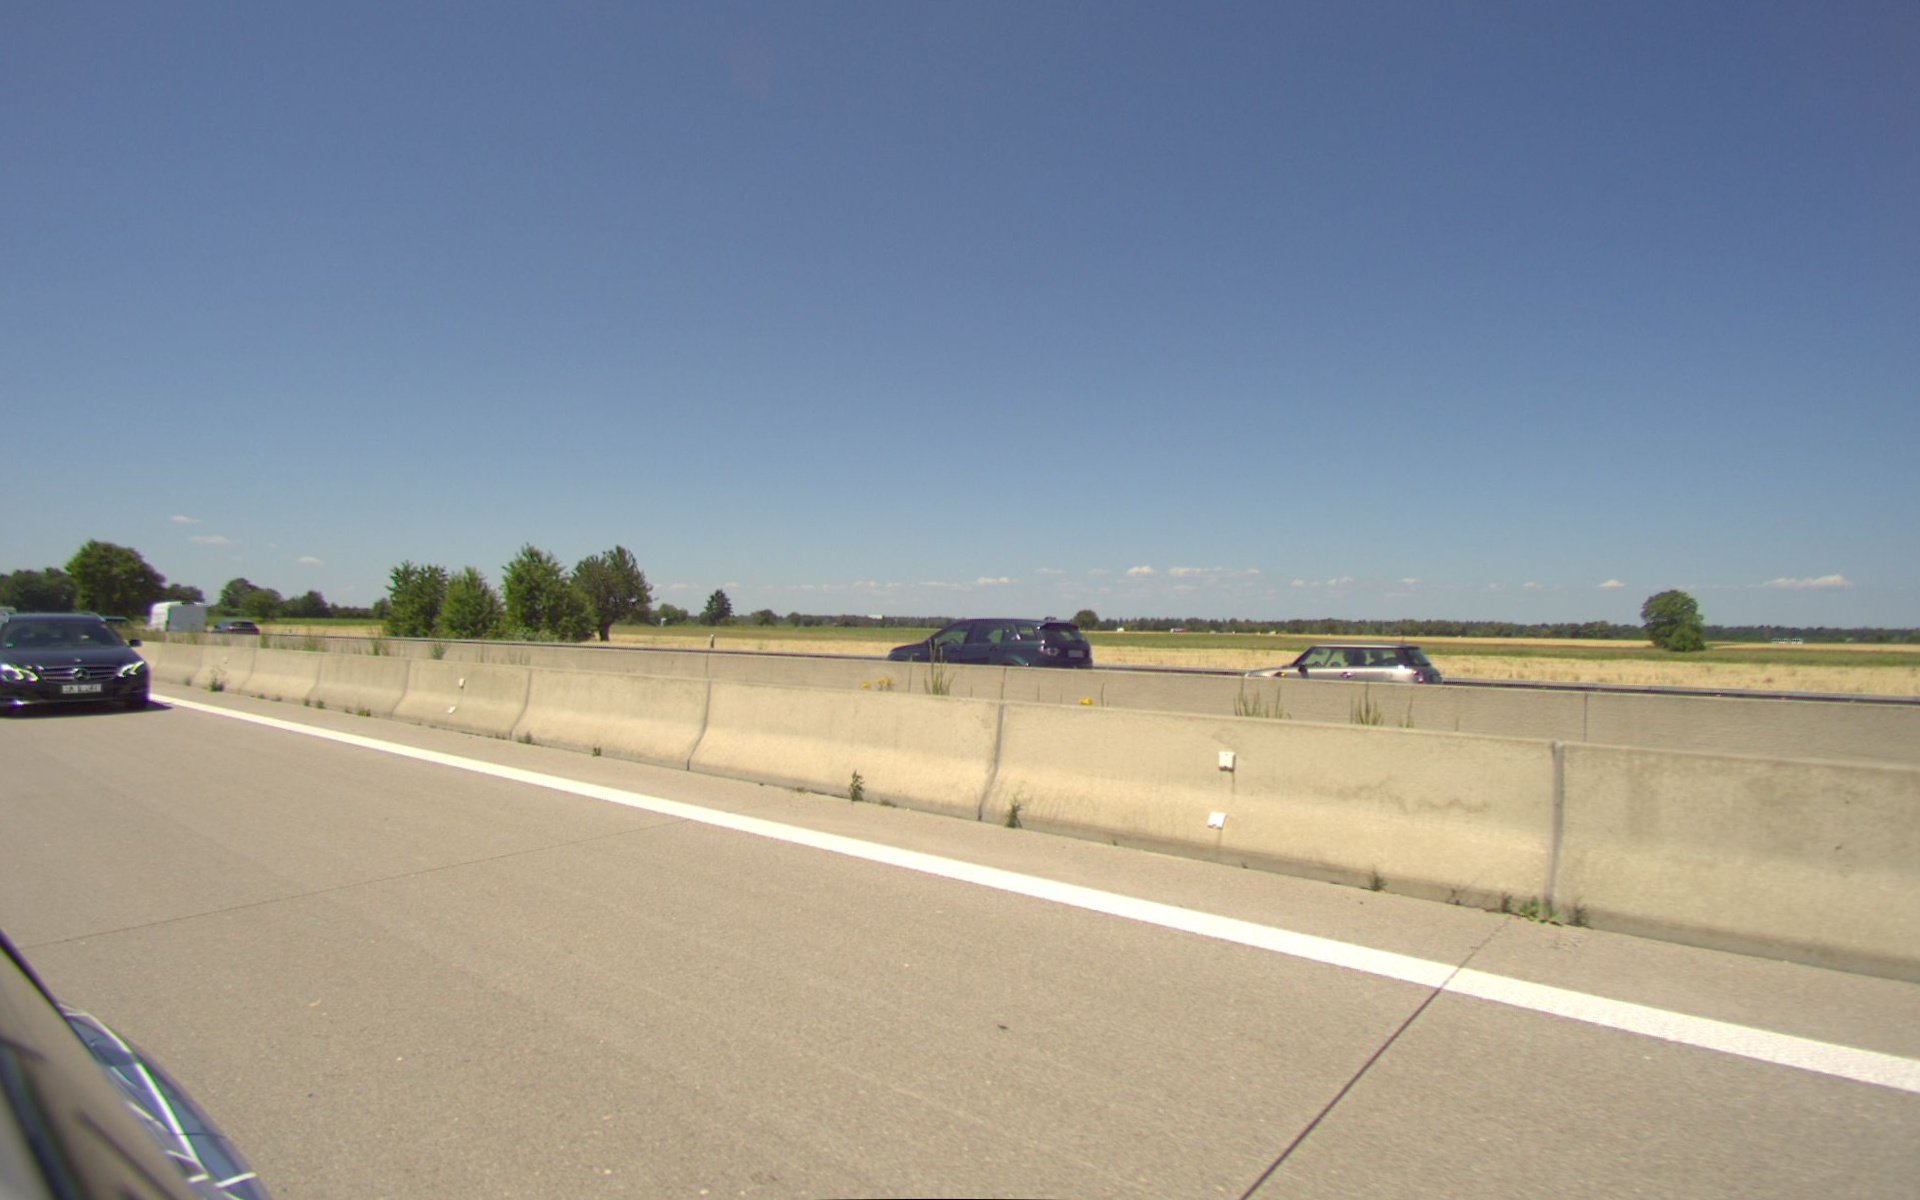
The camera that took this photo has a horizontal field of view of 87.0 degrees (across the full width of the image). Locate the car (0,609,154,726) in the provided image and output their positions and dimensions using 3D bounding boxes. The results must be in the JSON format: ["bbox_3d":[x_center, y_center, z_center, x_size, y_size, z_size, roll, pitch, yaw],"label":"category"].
[{"bbox_3d":[-14.192,0.960,15.795,3.937,1.597,1.825,-1,-1,40],"label":"car"}]

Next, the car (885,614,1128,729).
[{"bbox_3d":[0.805,1.250,19.402,4.400,1.929,1.972,-1,-1,42],"label":"car"}]

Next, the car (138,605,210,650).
[{"bbox_3d":[-46.363,1.609,59.635,6.120,2.539,2.190,-1,-1,40],"label":"car"}]

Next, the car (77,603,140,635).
[{"bbox_3d":[-44.995,1.011,53.463,4.587,1.630,1.972,-1,-1,42],"label":"car"}]

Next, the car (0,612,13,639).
[{"bbox_3d":[-103.353,2.769,108.173,7.065,2.809,2.240,-1,-1,40],"label":"car"}]

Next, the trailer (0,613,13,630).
[{"bbox_3d":[-104.660,2.269,109.264,10.535,1.759,2.215,-1,-3,40],"label":"trailer"}]

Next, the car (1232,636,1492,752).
[{"bbox_3d":[7.291,1.598,18.520,3.997,1.796,1.973,-1,-1,40],"label":"car"}]

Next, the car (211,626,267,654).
[{"bbox_3d":[-45.358,2.487,63.627,4.838,1.696,1.736,-1,-1,40],"label":"car"}]
